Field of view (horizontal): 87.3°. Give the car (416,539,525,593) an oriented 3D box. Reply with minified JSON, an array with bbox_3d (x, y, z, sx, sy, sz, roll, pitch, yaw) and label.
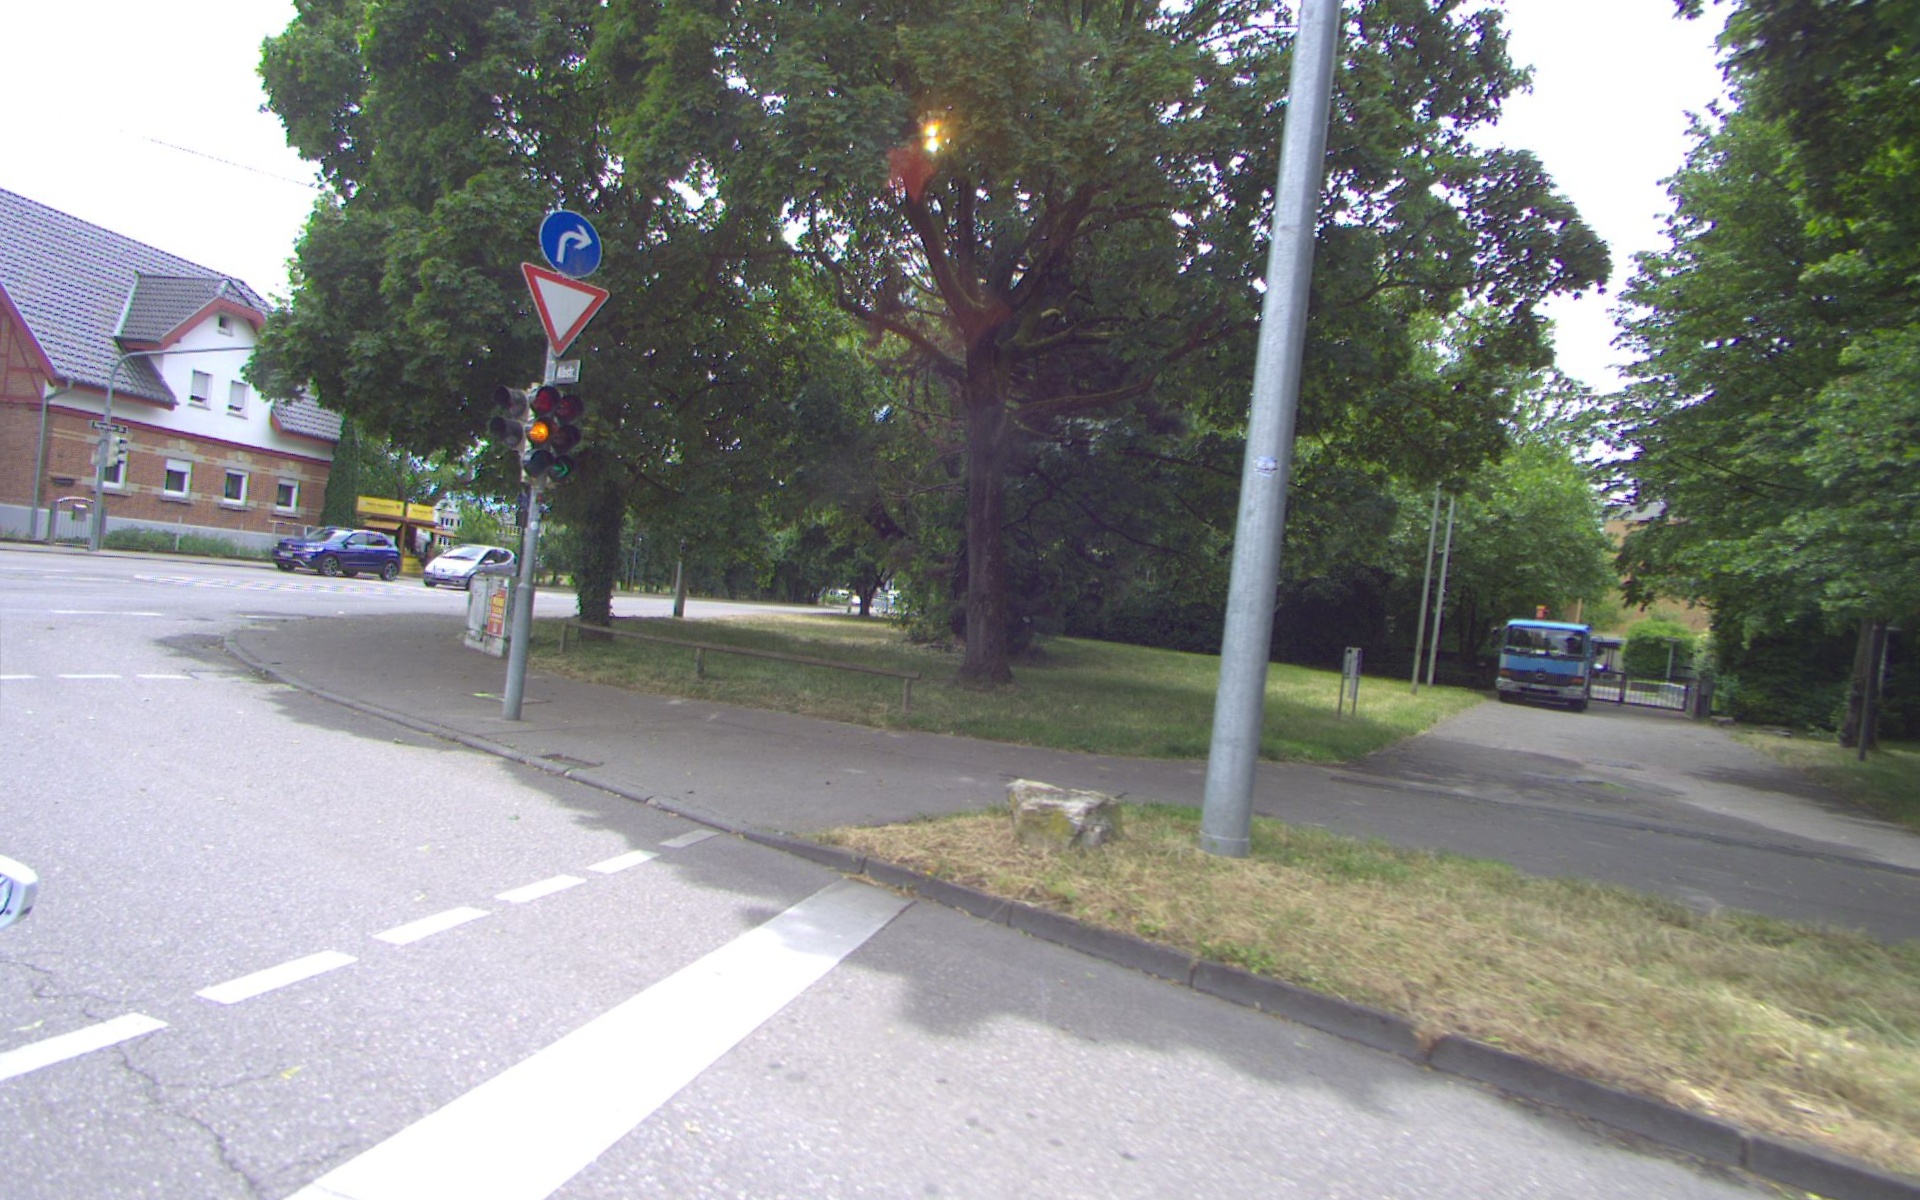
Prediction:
[{"bbox_3d":[-16.779,-1.124,34.661,1.747,1.538,3.558,5,0,4],"label":"car"}]

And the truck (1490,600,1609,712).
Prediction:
[{"bbox_3d":[18.663,1.800,31.594,2.444,2.883,7.410,6,0,35],"label":"truck"}]

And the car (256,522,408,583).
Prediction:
[{"bbox_3d":[-20.244,-1.493,32.646,1.891,1.537,4.001,6,0,11],"label":"car"}]
